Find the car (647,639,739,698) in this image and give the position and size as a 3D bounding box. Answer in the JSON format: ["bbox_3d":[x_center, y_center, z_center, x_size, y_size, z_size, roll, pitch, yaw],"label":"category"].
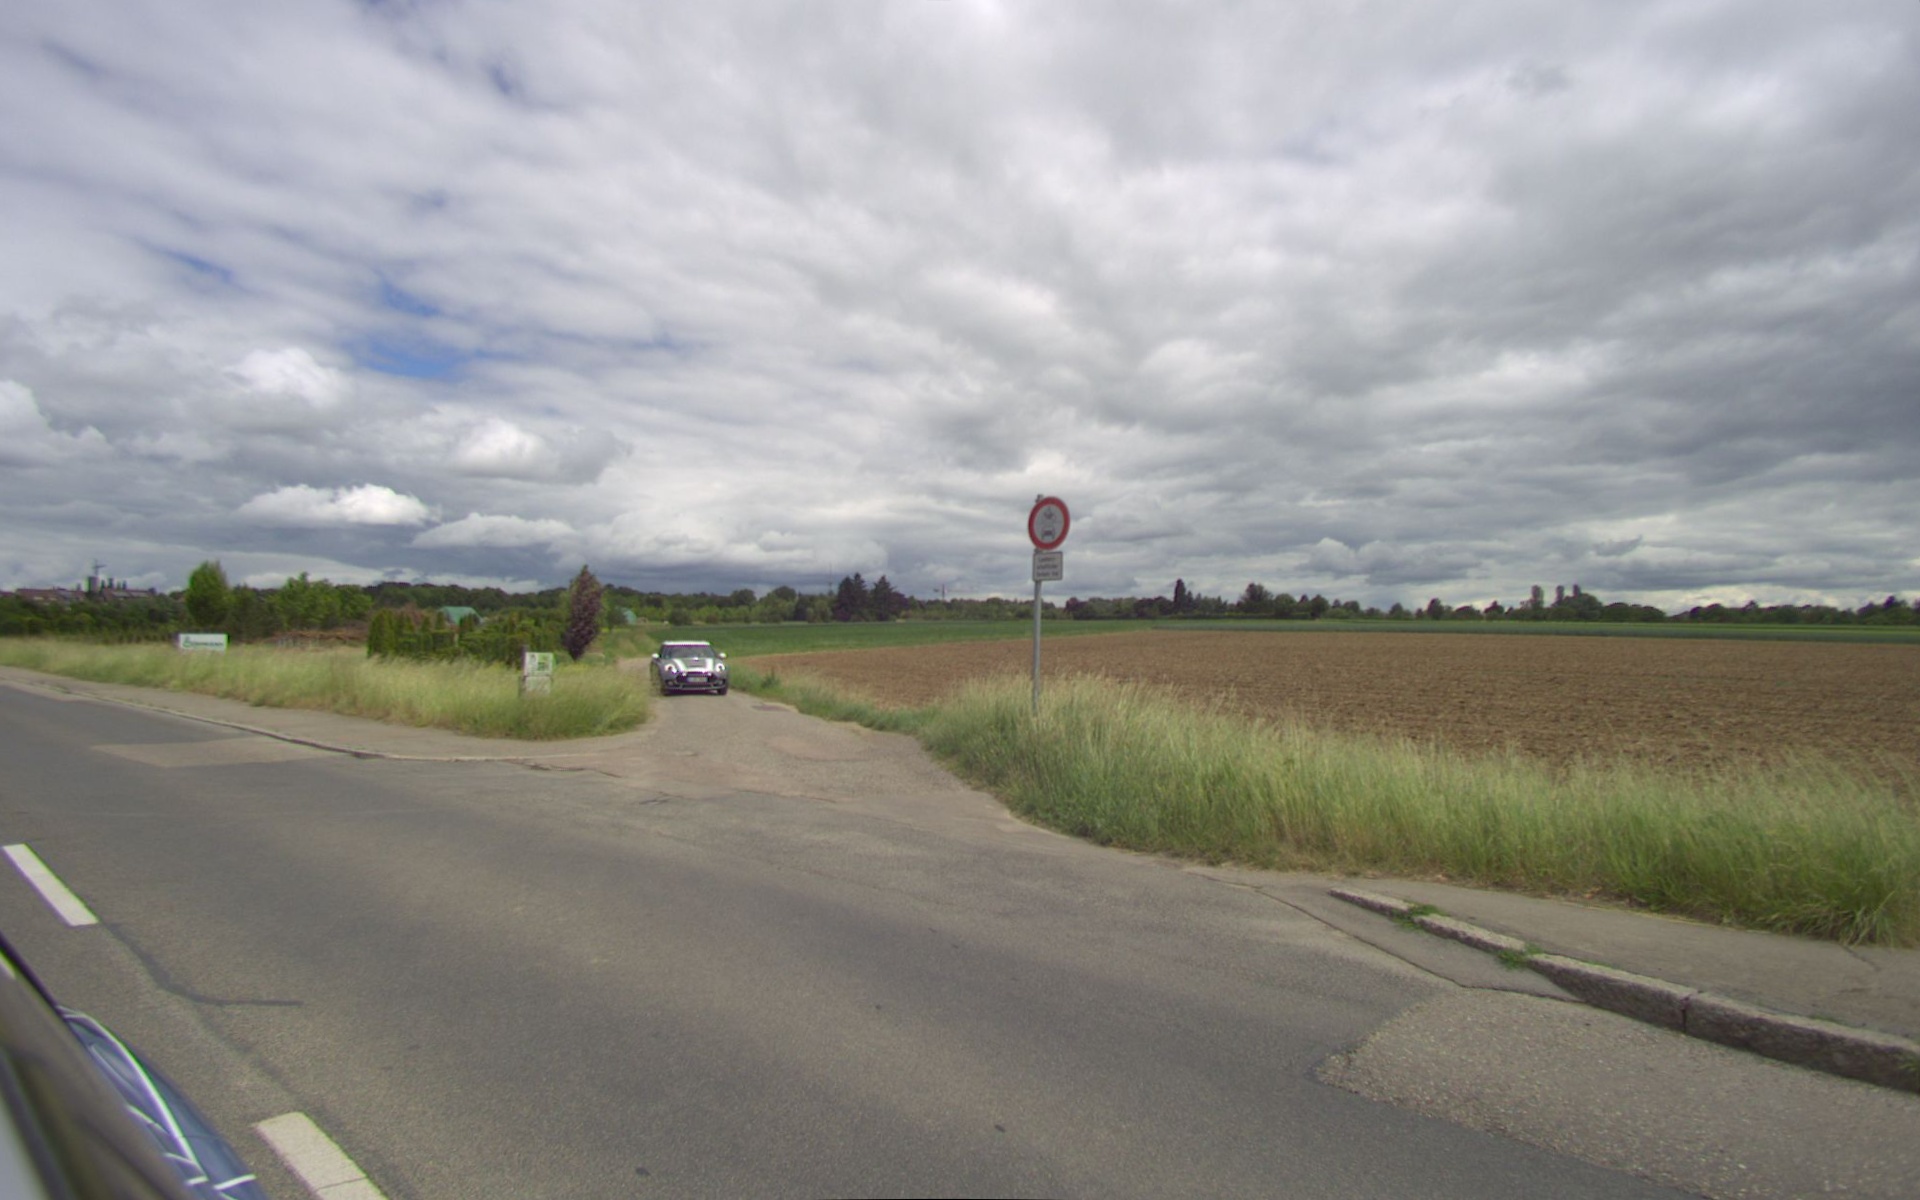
[{"bbox_3d":[-7.370,1.808,27.675,1.941,1.465,4.013,1,-2,-22],"label":"car"}]
